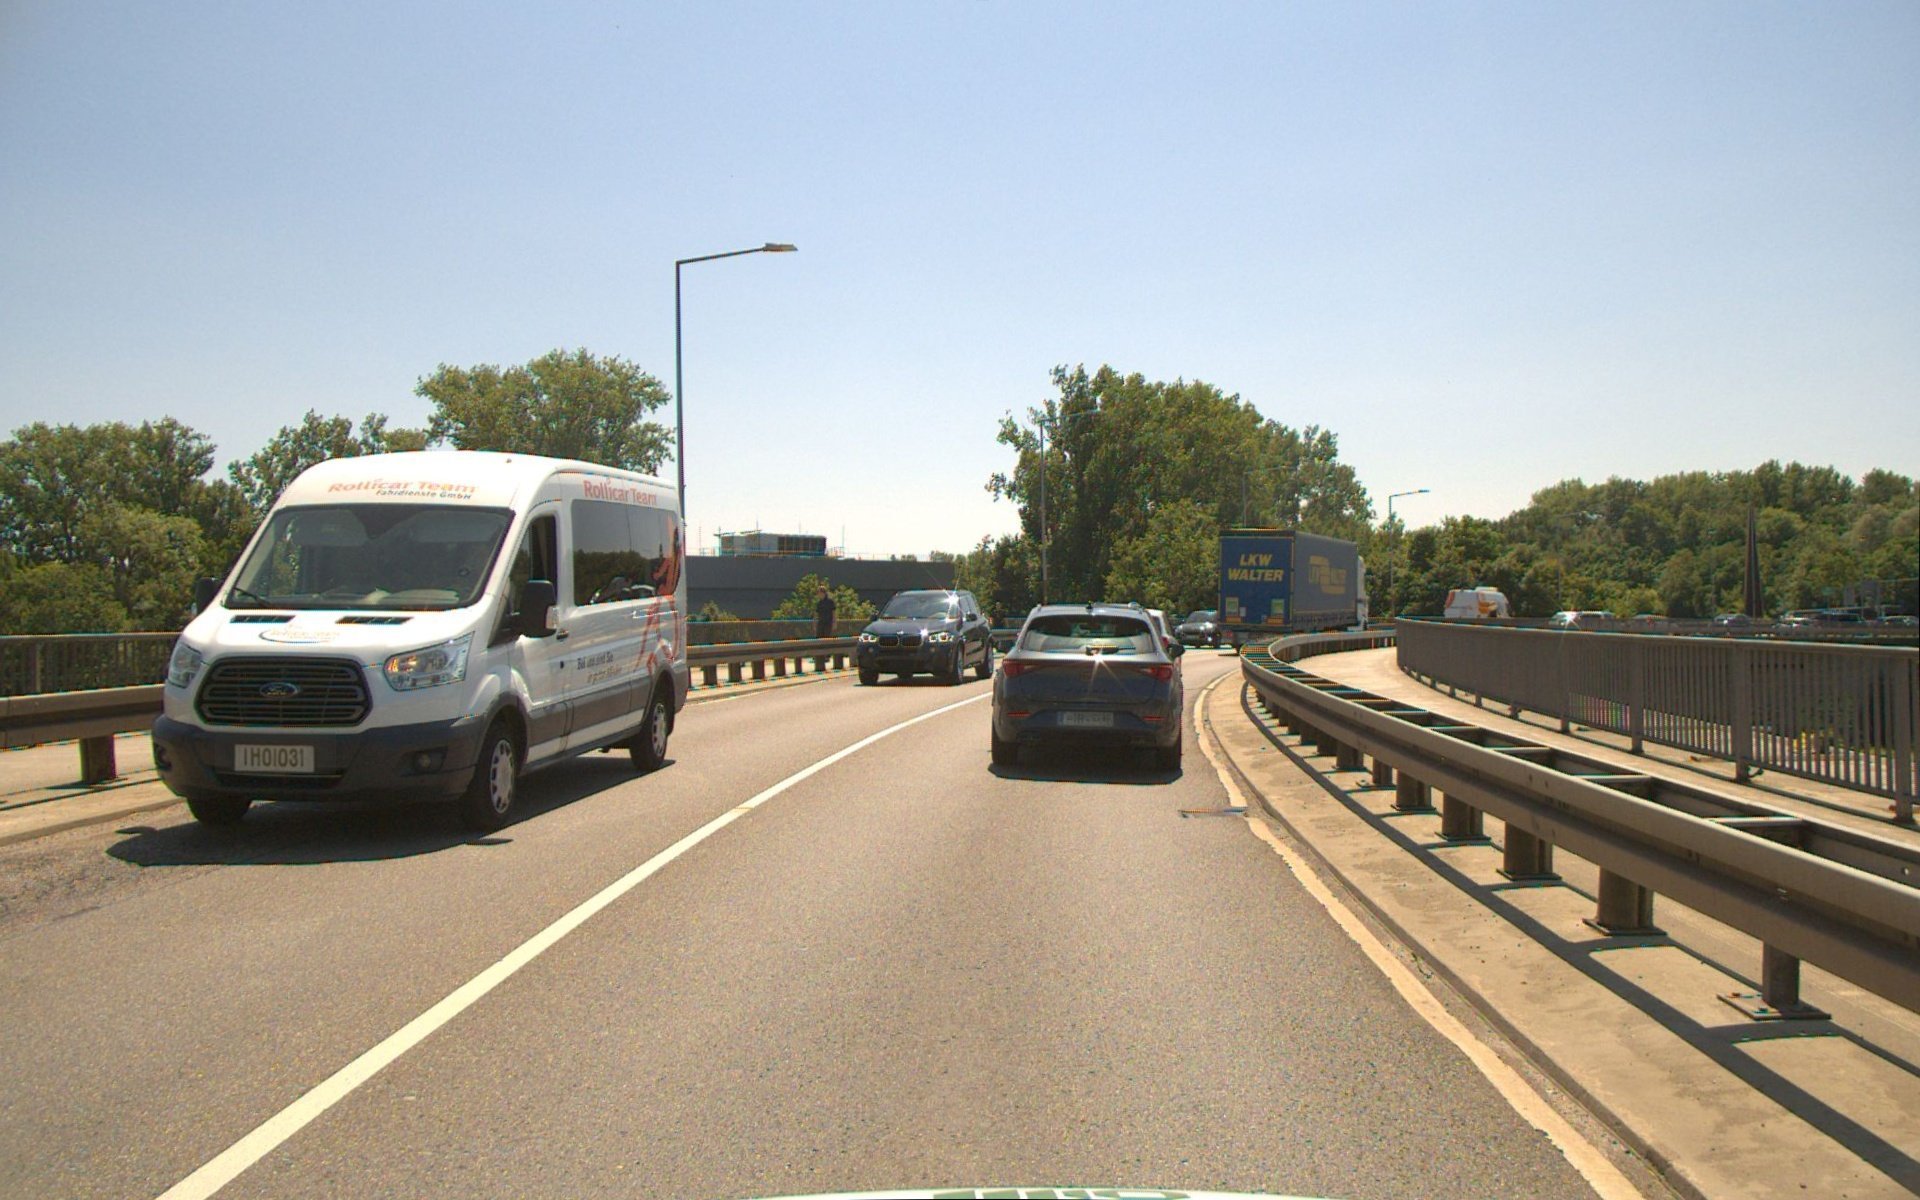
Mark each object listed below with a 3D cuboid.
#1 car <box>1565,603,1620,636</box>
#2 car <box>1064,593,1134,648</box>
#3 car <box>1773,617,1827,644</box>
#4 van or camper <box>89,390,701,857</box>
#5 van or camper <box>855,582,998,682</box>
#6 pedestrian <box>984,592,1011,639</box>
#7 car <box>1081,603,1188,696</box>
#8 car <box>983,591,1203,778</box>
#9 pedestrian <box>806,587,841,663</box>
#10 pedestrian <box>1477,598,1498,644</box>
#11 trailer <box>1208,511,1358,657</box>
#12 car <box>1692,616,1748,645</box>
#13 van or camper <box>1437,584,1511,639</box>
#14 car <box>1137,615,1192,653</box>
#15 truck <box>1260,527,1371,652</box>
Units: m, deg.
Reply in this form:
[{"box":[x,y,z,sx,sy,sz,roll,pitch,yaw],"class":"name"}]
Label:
[{"box":[38.255,1.205,100.034,1.861,1.882,3.977,1,-1,41],"class":"car"},{"box":[4.505,0.683,53.168,1.855,1.683,4.261,0,-1,10],"class":"car"},{"box":[61.053,2.204,120.201,3.955,1.882,1.871,2,-1,-36],"class":"car"},{"box":[-3.629,0.104,12.159,2.005,2.582,5.887,0,0,5],"class":"van or camper"},{"box":[-0.556,0.612,32.219,1.951,1.792,4.702,0,-1,9],"class":"van or camper"},{"box":[1.263,0.526,55.604,0.699,1.589,0.695,-1,-1,19],"class":"pedestrian"},{"box":[3.129,0.832,29.188,1.559,1.486,3.547,2,0,11],"class":"car"},{"box":[1.178,0.696,15.653,1.807,1.525,3.759,1,0,2],"class":"car"},{"box":[-3.339,0.614,40.555,0.624,1.814,0.812,1,-1,10],"class":"pedestrian"},{"box":[23.295,0.930,73.024,0.723,2.002,0.733,1,-1,31],"class":"pedestrian"},{"box":[11.915,-0.446,59.778,3.070,4.695,12.948,2,0,21],"class":"trailer"},{"box":[52.669,2.132,114.570,3.956,1.882,1.870,2,-1,-37],"class":"car"},{"box":[27.201,0.584,87.382,2.164,2.758,5.908,1,0,33],"class":"van or camper"},{"box":[8.238,1.360,66.501,1.751,1.444,3.776,-1,-1,14],"class":"car"},{"box":[14.291,-0.340,65.984,3.105,4.665,7.396,1,-1,21],"class":"truck"}]
